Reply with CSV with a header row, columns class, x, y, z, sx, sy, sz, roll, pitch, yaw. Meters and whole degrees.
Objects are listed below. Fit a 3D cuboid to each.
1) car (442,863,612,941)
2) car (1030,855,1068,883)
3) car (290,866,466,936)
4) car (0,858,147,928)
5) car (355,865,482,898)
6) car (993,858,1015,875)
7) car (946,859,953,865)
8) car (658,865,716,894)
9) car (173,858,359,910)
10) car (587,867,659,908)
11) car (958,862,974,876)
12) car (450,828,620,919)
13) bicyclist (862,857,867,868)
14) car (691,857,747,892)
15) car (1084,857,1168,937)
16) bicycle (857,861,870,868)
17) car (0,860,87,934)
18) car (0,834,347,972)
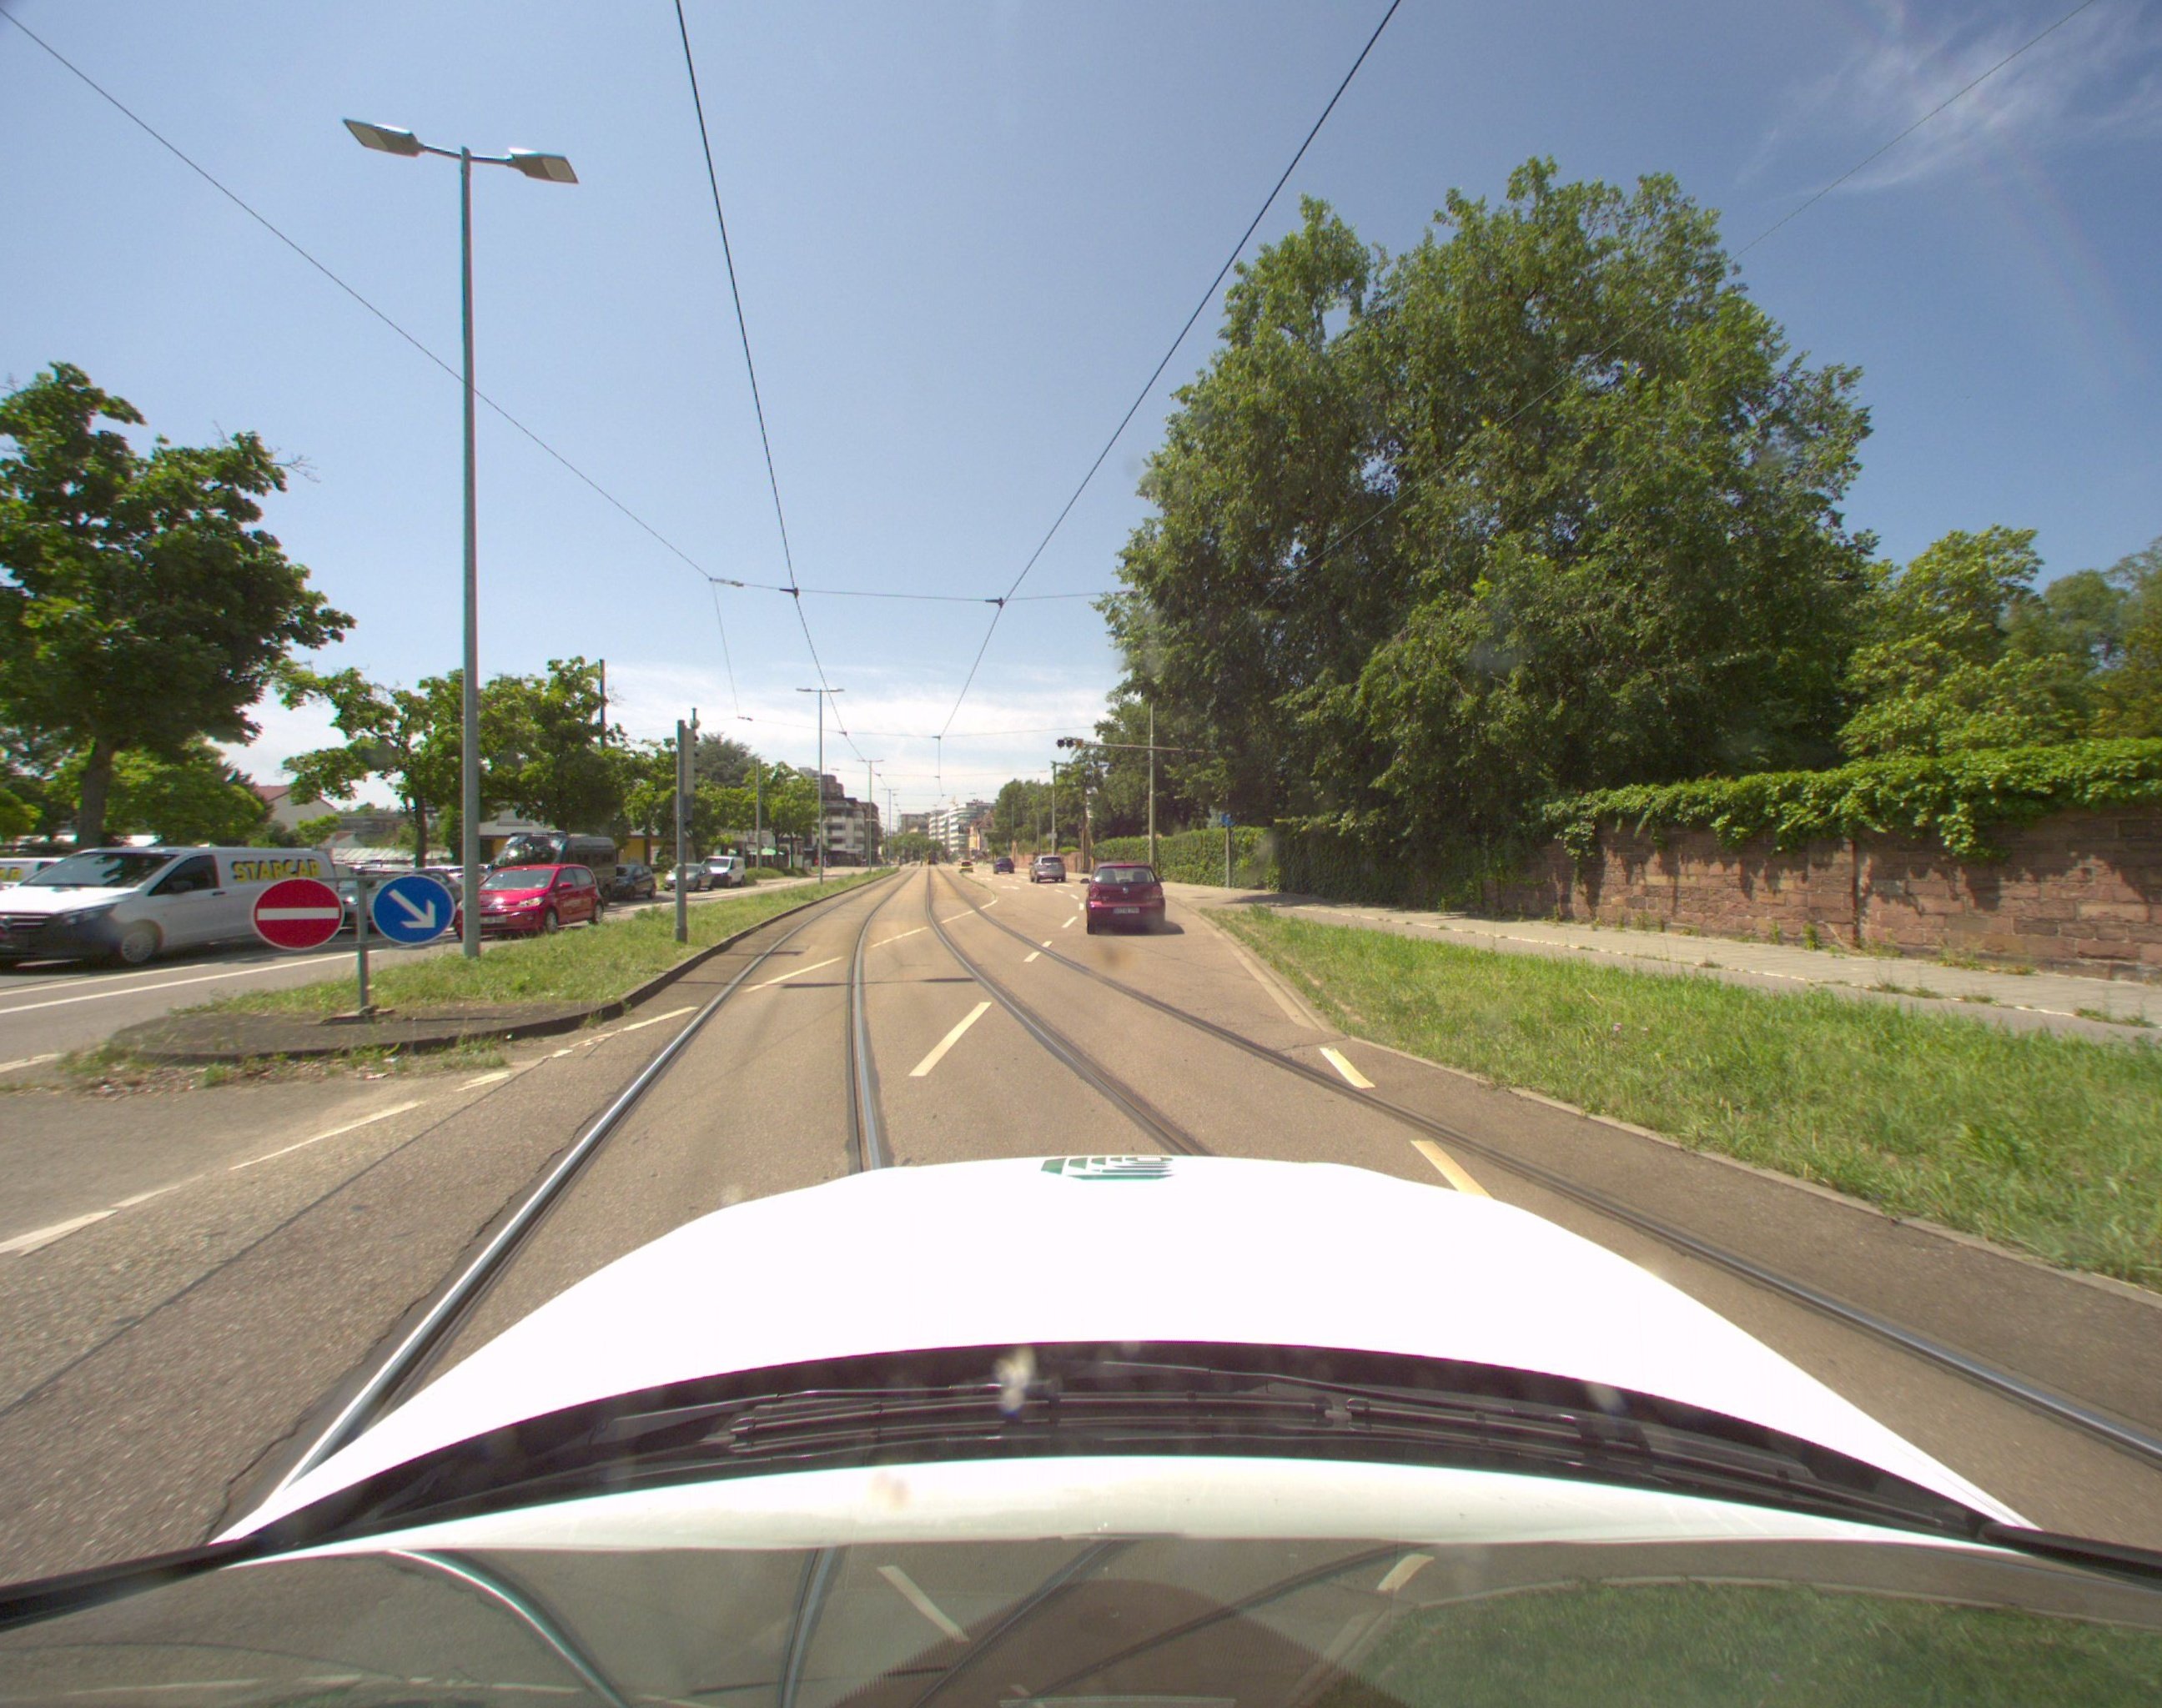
class,x,y,z,sx,sy,sz,roll,pitch,yaw
car,-11.622,0.926,17.368,1.658,1.410,3.592,-2,0,-11
car,-2.035,0.895,50.350,1.795,1.683,3.986,1,0,-10
car,-16.842,1.067,19.759,1.405,1.440,3.826,3,-1,-10
car,-29.222,1.060,22.229,4.722,1.813,1.789,-1,0,-13
car,-31.061,1.274,38.303,4.215,1.411,1.848,-1,0,-14
car,-7.632,1.248,80.698,1.775,1.631,3.985,1,0,-11
car,-27.820,1.665,171.793,1.354,1.252,2.961,1,0,-10
car,-20.944,1.320,43.462,1.630,1.420,3.855,2,-1,-8
car,-30.552,1.095,30.691,4.720,1.813,1.790,-1,0,-11
car,-19.025,1.343,34.000,1.312,1.522,4.010,3,-1,-10
car,-13.862,1.817,98.248,1.795,1.683,3.986,1,0,-10
car,-18.228,0.605,27.696,2.399,2.656,6.150,3,-1,-11
bicyclist,-43.591,1.671,164.072,0.960,2.091,0.846,-1,0,-23
car,-22.084,1.220,49.874,1.876,1.965,5.146,3,-1,-10
car,0.886,0.849,17.942,1.604,1.498,3.999,-2,0,0
bicycle,-43.735,2.178,163.983,2.521,1.419,0.632,-1,0,-24
car,-27.748,1.057,19.819,4.213,1.765,1.849,-1,0,-13
car,-15.670,0.723,14.152,1.862,1.937,4.791,3,-1,-8
